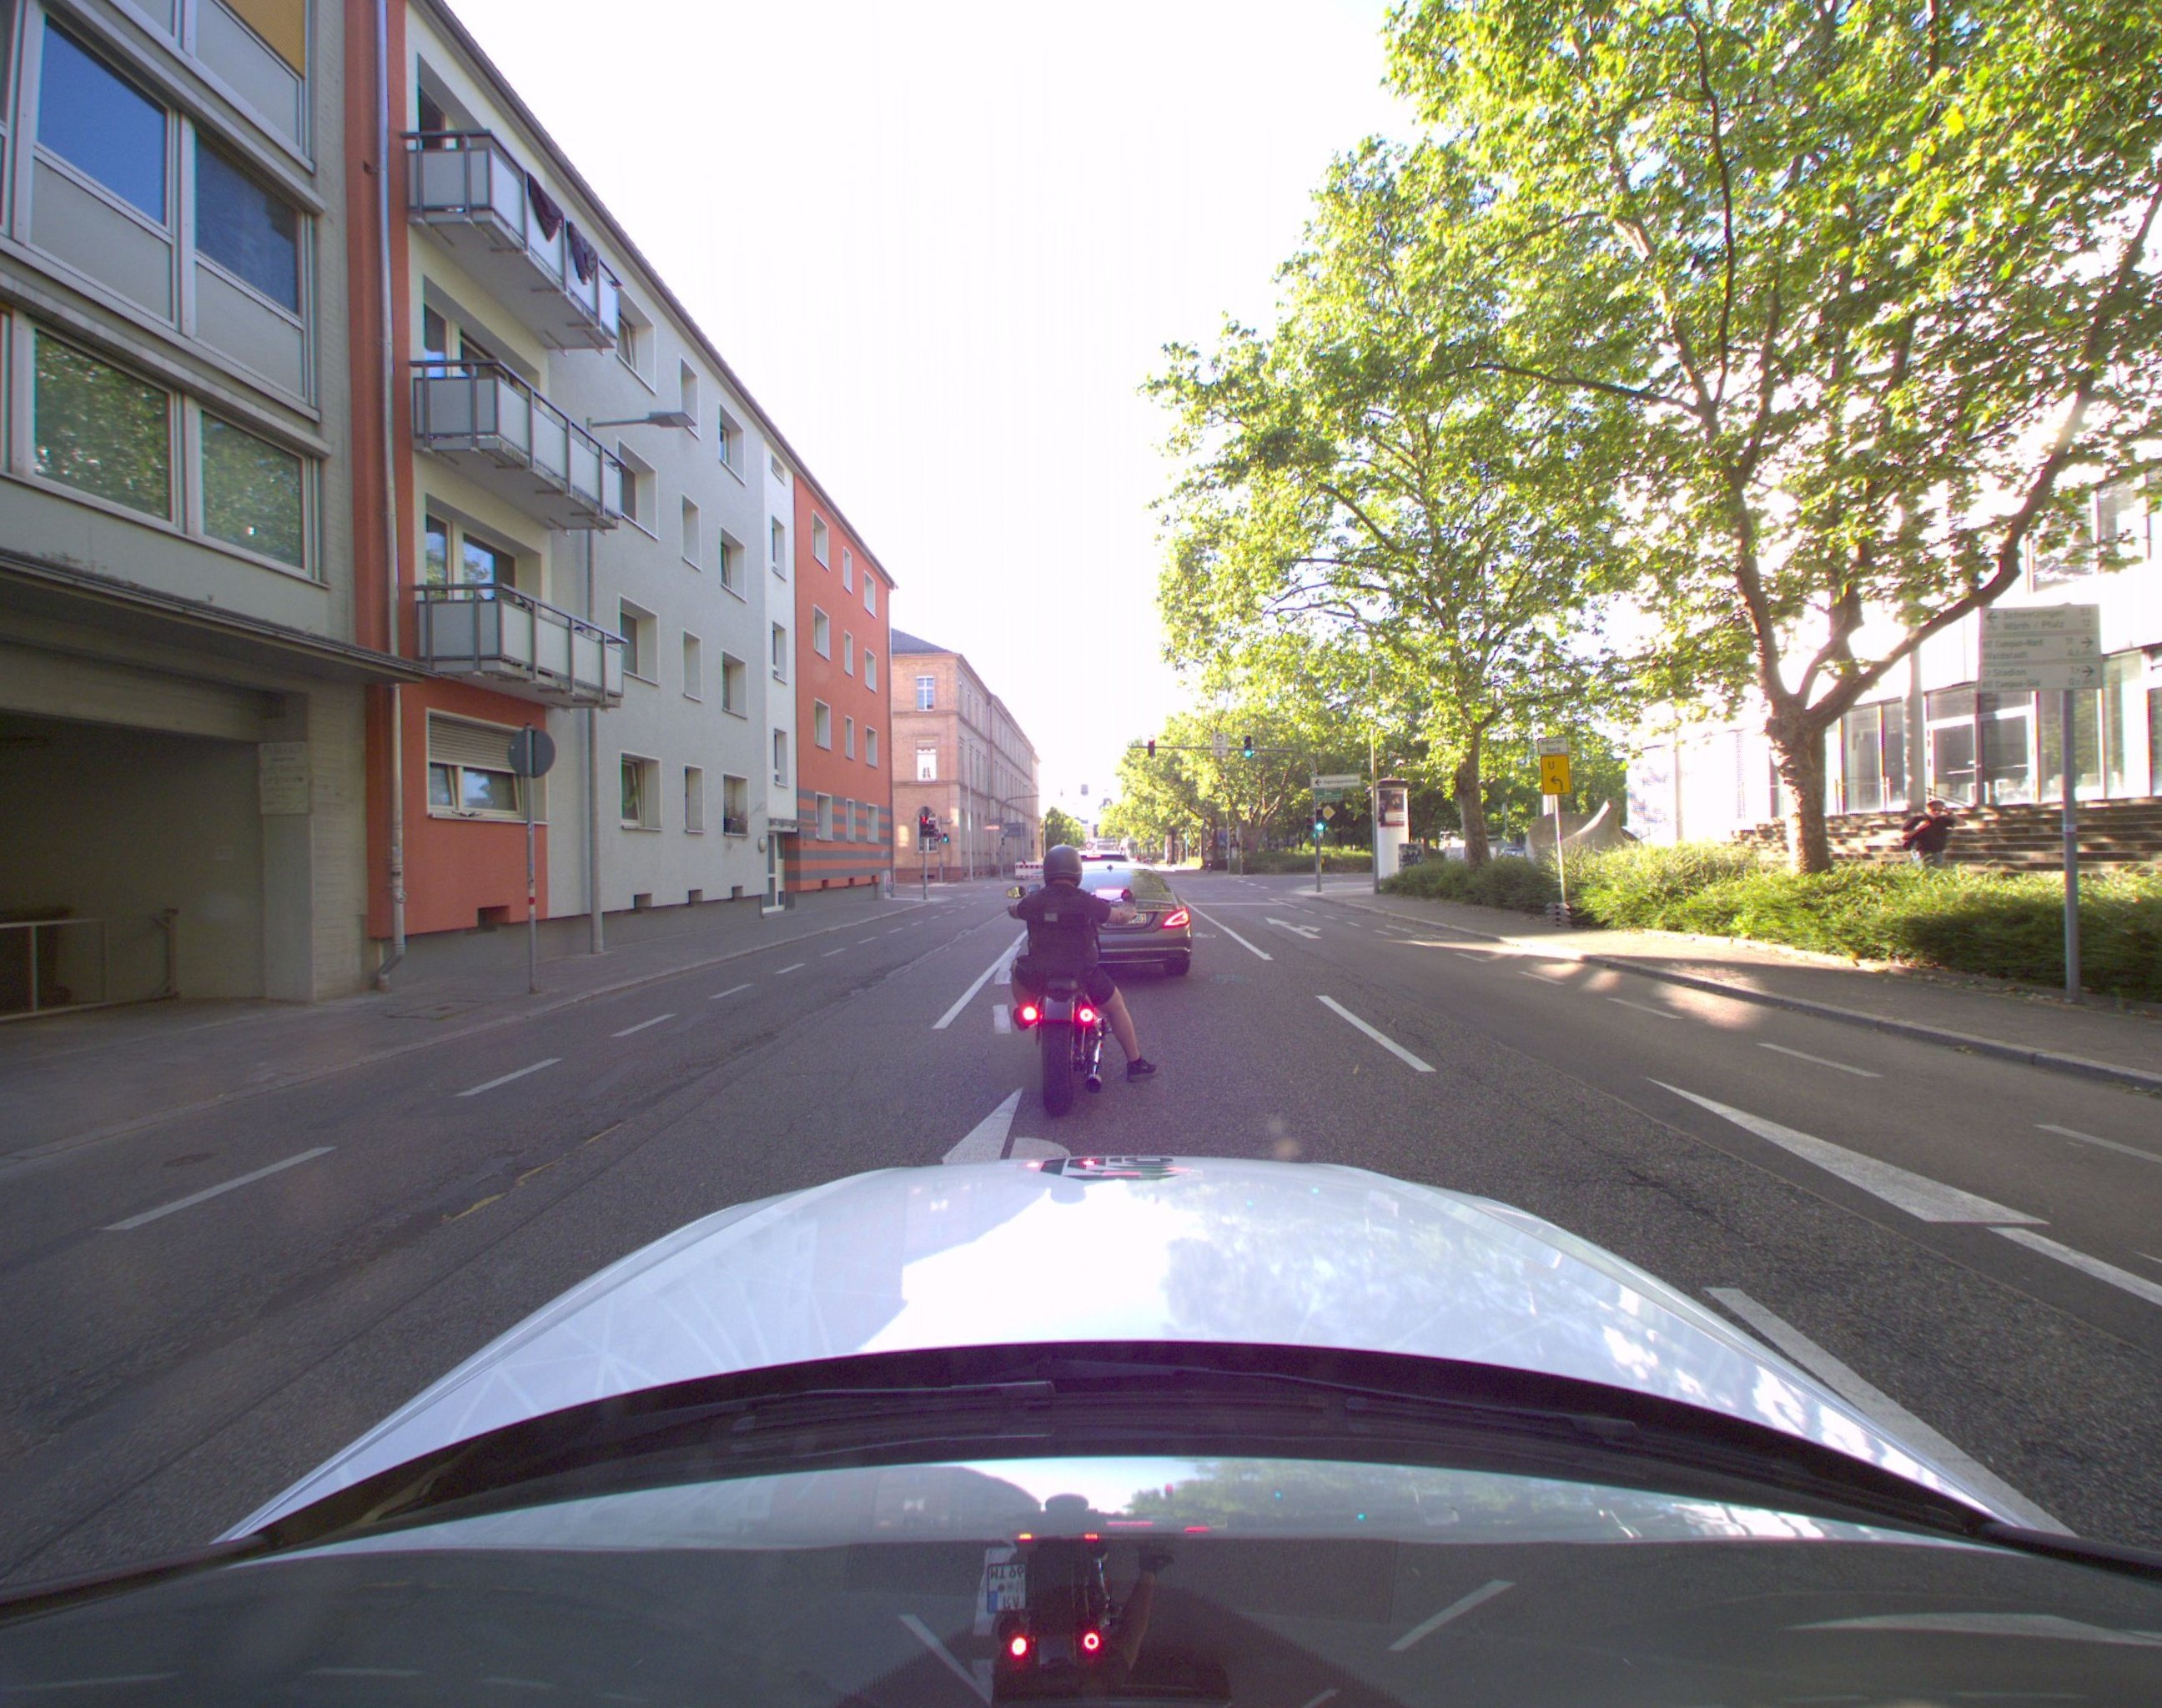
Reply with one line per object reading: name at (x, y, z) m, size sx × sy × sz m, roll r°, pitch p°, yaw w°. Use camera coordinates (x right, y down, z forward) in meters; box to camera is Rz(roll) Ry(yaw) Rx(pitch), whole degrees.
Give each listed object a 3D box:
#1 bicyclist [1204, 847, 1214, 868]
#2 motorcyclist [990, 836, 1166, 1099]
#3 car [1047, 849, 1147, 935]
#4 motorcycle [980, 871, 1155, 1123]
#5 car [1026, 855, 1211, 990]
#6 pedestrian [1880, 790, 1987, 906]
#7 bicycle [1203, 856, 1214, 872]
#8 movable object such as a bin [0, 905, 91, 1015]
bicyclist at (9.803, 0.258, 62.532) m, size 0.713 × 1.582 × 0.937 m, roll 0°, pitch -1°, yaw 5°
motorcyclist at (-0.005, 0.689, 5.386) m, size 1.057 × 1.582 × 0.908 m, roll 0°, pitch -1°, yaw 1°
car at (0.269, 0.697, 16.891) m, size 1.808 × 1.536 × 3.847 m, roll -1°, pitch 0°, yaw -1°
motorcycle at (-0.040, 0.814, 5.656) m, size 0.958 × 1.357 × 2.321 m, roll 0°, pitch -1°, yaw 2°
car at (0.286, 0.760, 11.199) m, size 1.900 × 1.441 × 4.279 m, roll -1°, pitch 0°, yaw -6°
pedestrian at (13.662, -0.099, 13.072) m, size 0.781 × 1.781 × 0.862 m, roll -1°, pitch 0°, yaw 0°
bicycle at (9.817, 0.763, 62.651) m, size 0.712 × 1.172 × 2.179 m, roll 0°, pitch -1°, yaw 6°
movable object such as a bin at (-11.324, 1.100, 8.643) m, size 0.736 × 1.074 × 0.716 m, roll 0°, pitch -1°, yaw 2°
